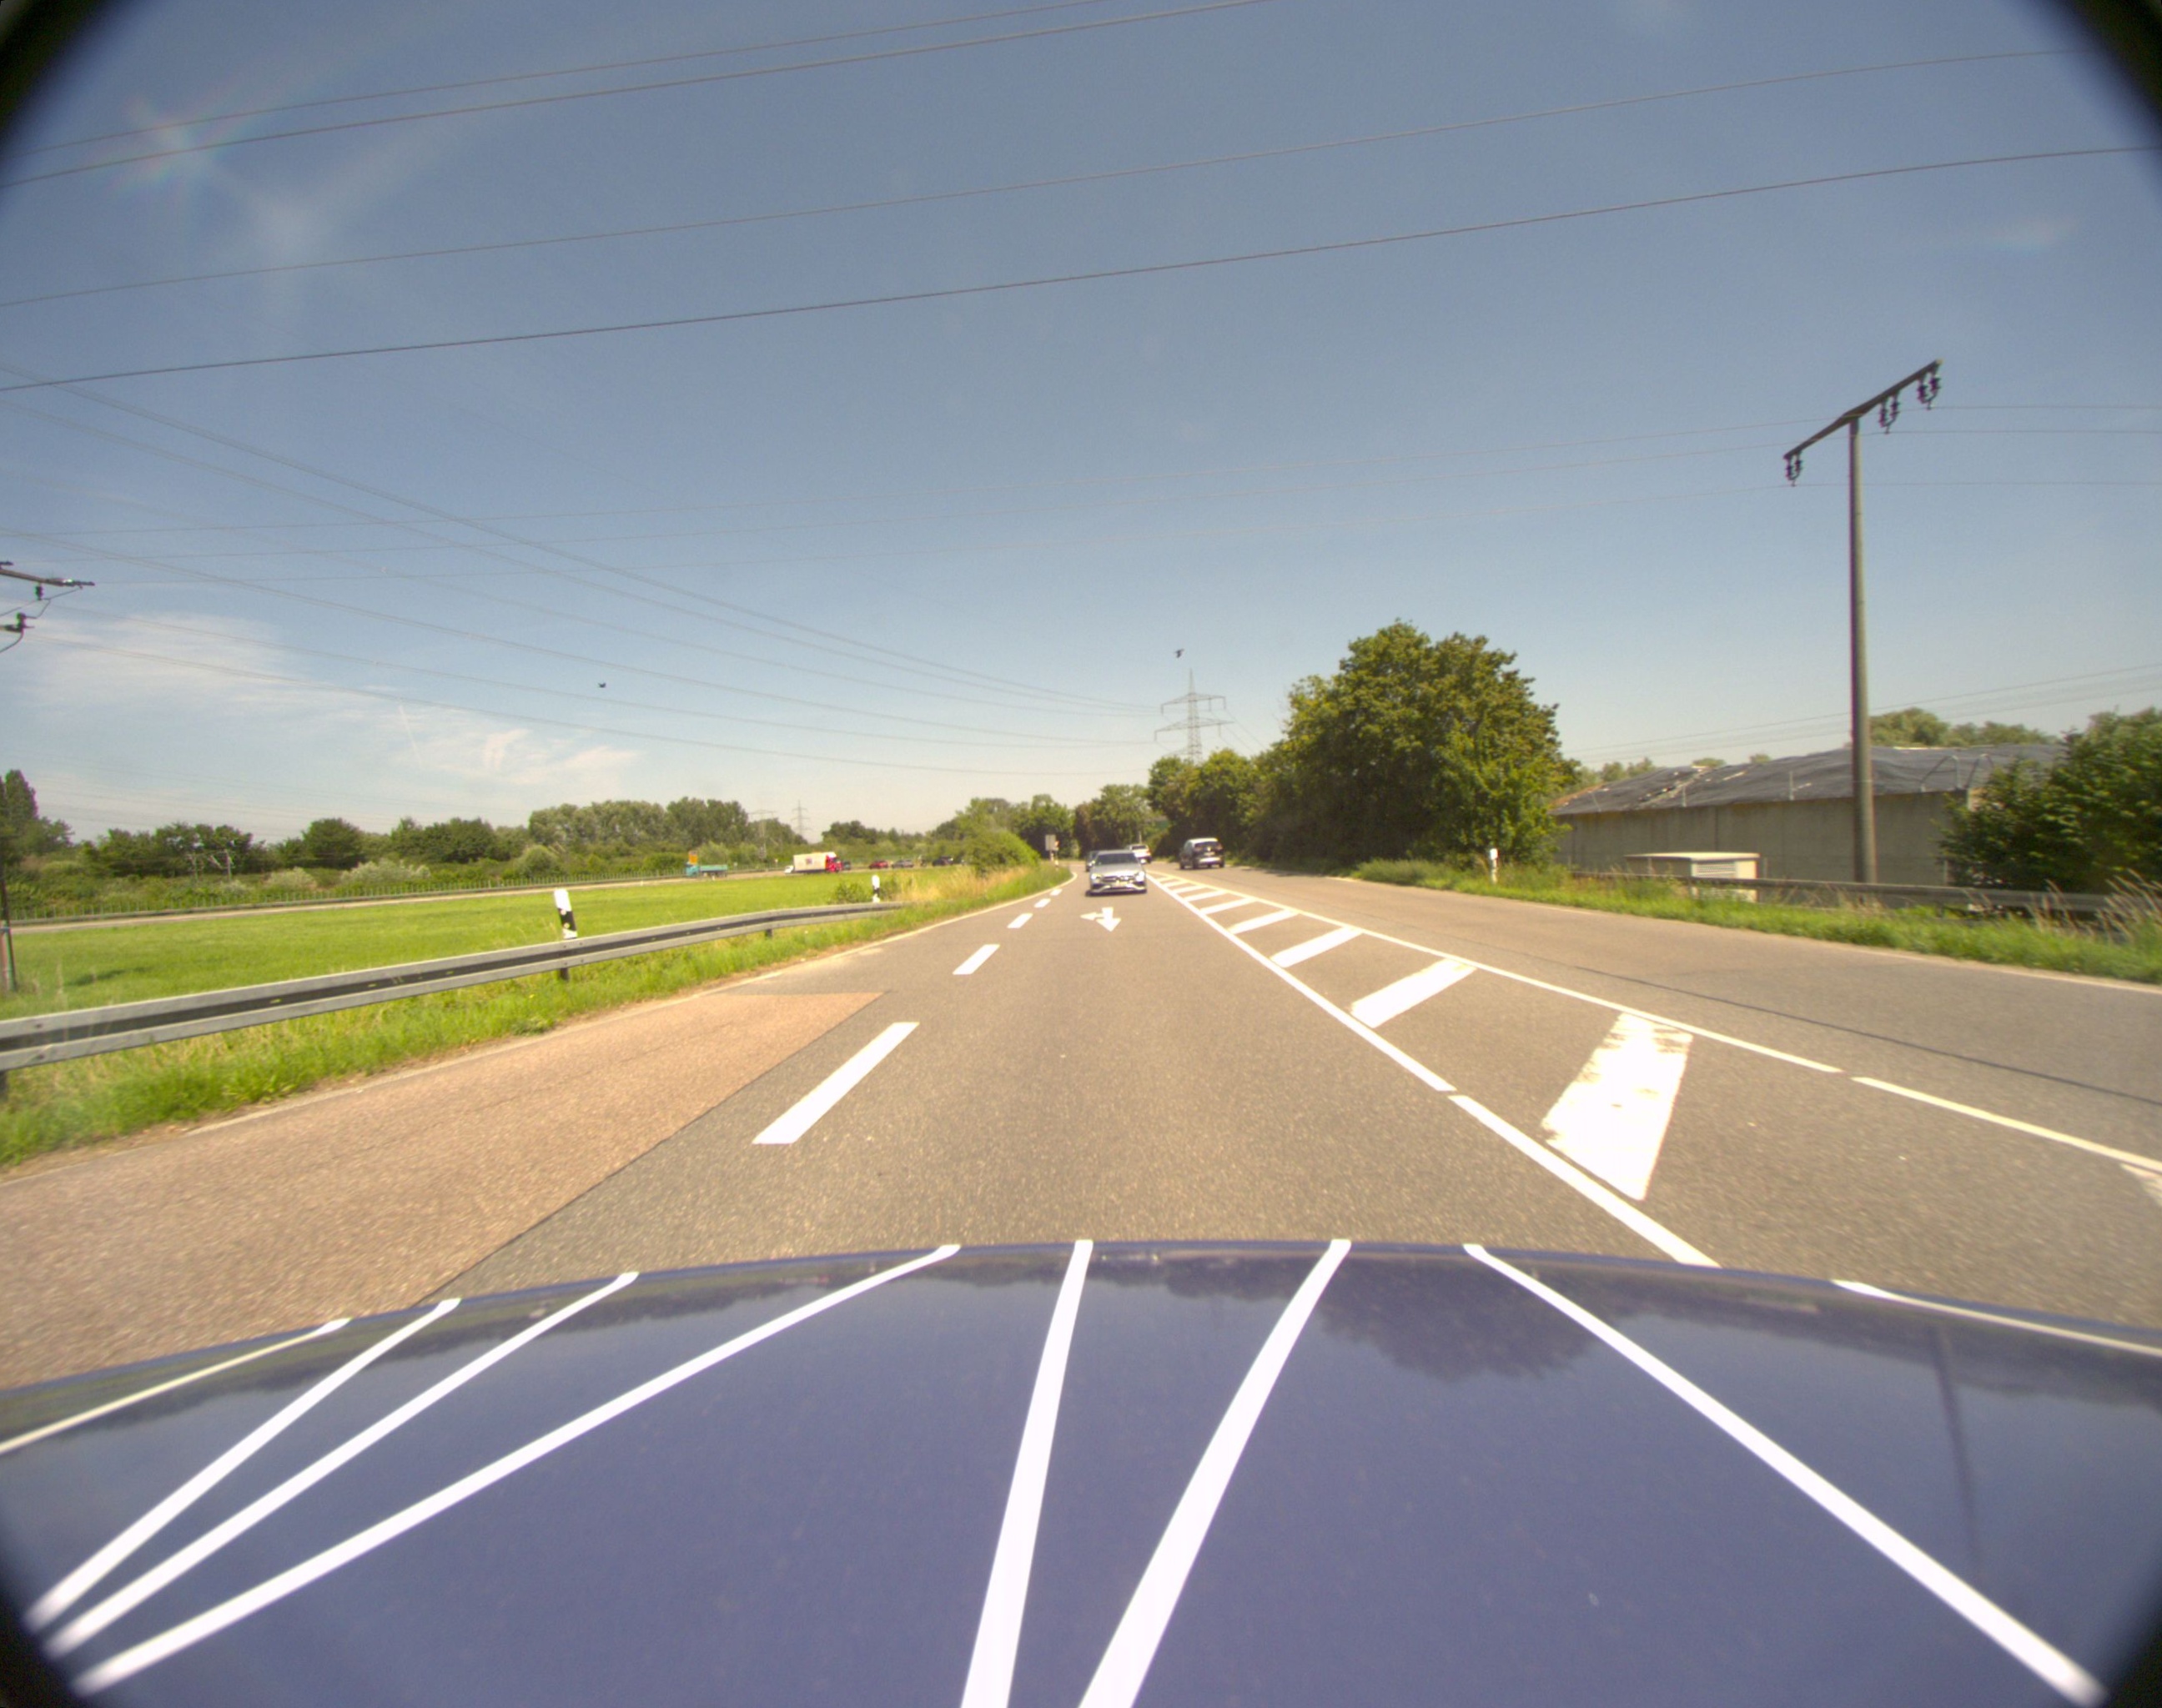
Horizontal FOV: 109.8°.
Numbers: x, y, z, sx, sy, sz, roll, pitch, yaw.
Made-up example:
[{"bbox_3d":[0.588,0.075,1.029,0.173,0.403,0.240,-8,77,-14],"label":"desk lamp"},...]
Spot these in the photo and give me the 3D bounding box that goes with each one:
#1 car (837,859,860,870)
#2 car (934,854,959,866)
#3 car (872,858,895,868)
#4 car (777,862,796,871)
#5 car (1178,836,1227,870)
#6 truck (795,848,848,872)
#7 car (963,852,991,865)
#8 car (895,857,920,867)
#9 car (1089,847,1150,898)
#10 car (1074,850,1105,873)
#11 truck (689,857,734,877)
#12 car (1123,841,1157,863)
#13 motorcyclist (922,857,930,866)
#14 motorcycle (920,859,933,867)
[{"bbox_3d":[-43.889,1.958,143.351,4.426,1.822,1.935,-2,3,43],"label":"car"},{"bbox_3d":[-21.217,0.878,119.945,1.710,1.629,4.238,-7,3,-41],"label":"car"},{"bbox_3d":[-35.113,1.585,135.026,1.808,1.507,4.379,-5,2,-45],"label":"car"},{"bbox_3d":[-61.685,2.558,159.036,4.319,1.612,1.780,-3,3,40],"label":"car"},{"bbox_3d":[6.378,-0.072,40.265,1.737,1.581,3.956,-4,1,-2],"label":"car"},{"bbox_3d":[-45.686,1.047,133.695,9.532,3.560,2.728,-3,3,27],"label":"truck"},{"bbox_3d":[-15.429,0.674,112.774,1.863,1.592,4.766,-7,2,-37],"label":"car"},{"bbox_3d":[-29.537,1.358,129.337,1.850,1.452,4.795,-6,3,-45],"label":"car"},{"bbox_3d":[1.234,0.568,25.724,1.824,1.478,4.148,-3,1,1],"label":"car"},{"bbox_3d":[0.570,0.501,53.182,1.824,1.431,4.147,-3,1,-3],"label":"car"},{"bbox_3d":[-73.690,2.545,151.572,7.619,3.452,2.605,-4,1,-28],"label":"truck"},{"bbox_3d":[4.614,-0.159,60.094,1.746,1.580,4.527,-5,1,-6],"label":"car"},{"bbox_3d":[-25.478,1.274,125.048,1.127,1.487,0.784,-2,3,45],"label":"motorcyclist"},{"bbox_3d":[-25.502,1.507,125.120,2.423,1.117,0.785,-2,4,45],"label":"motorcycle"}]
